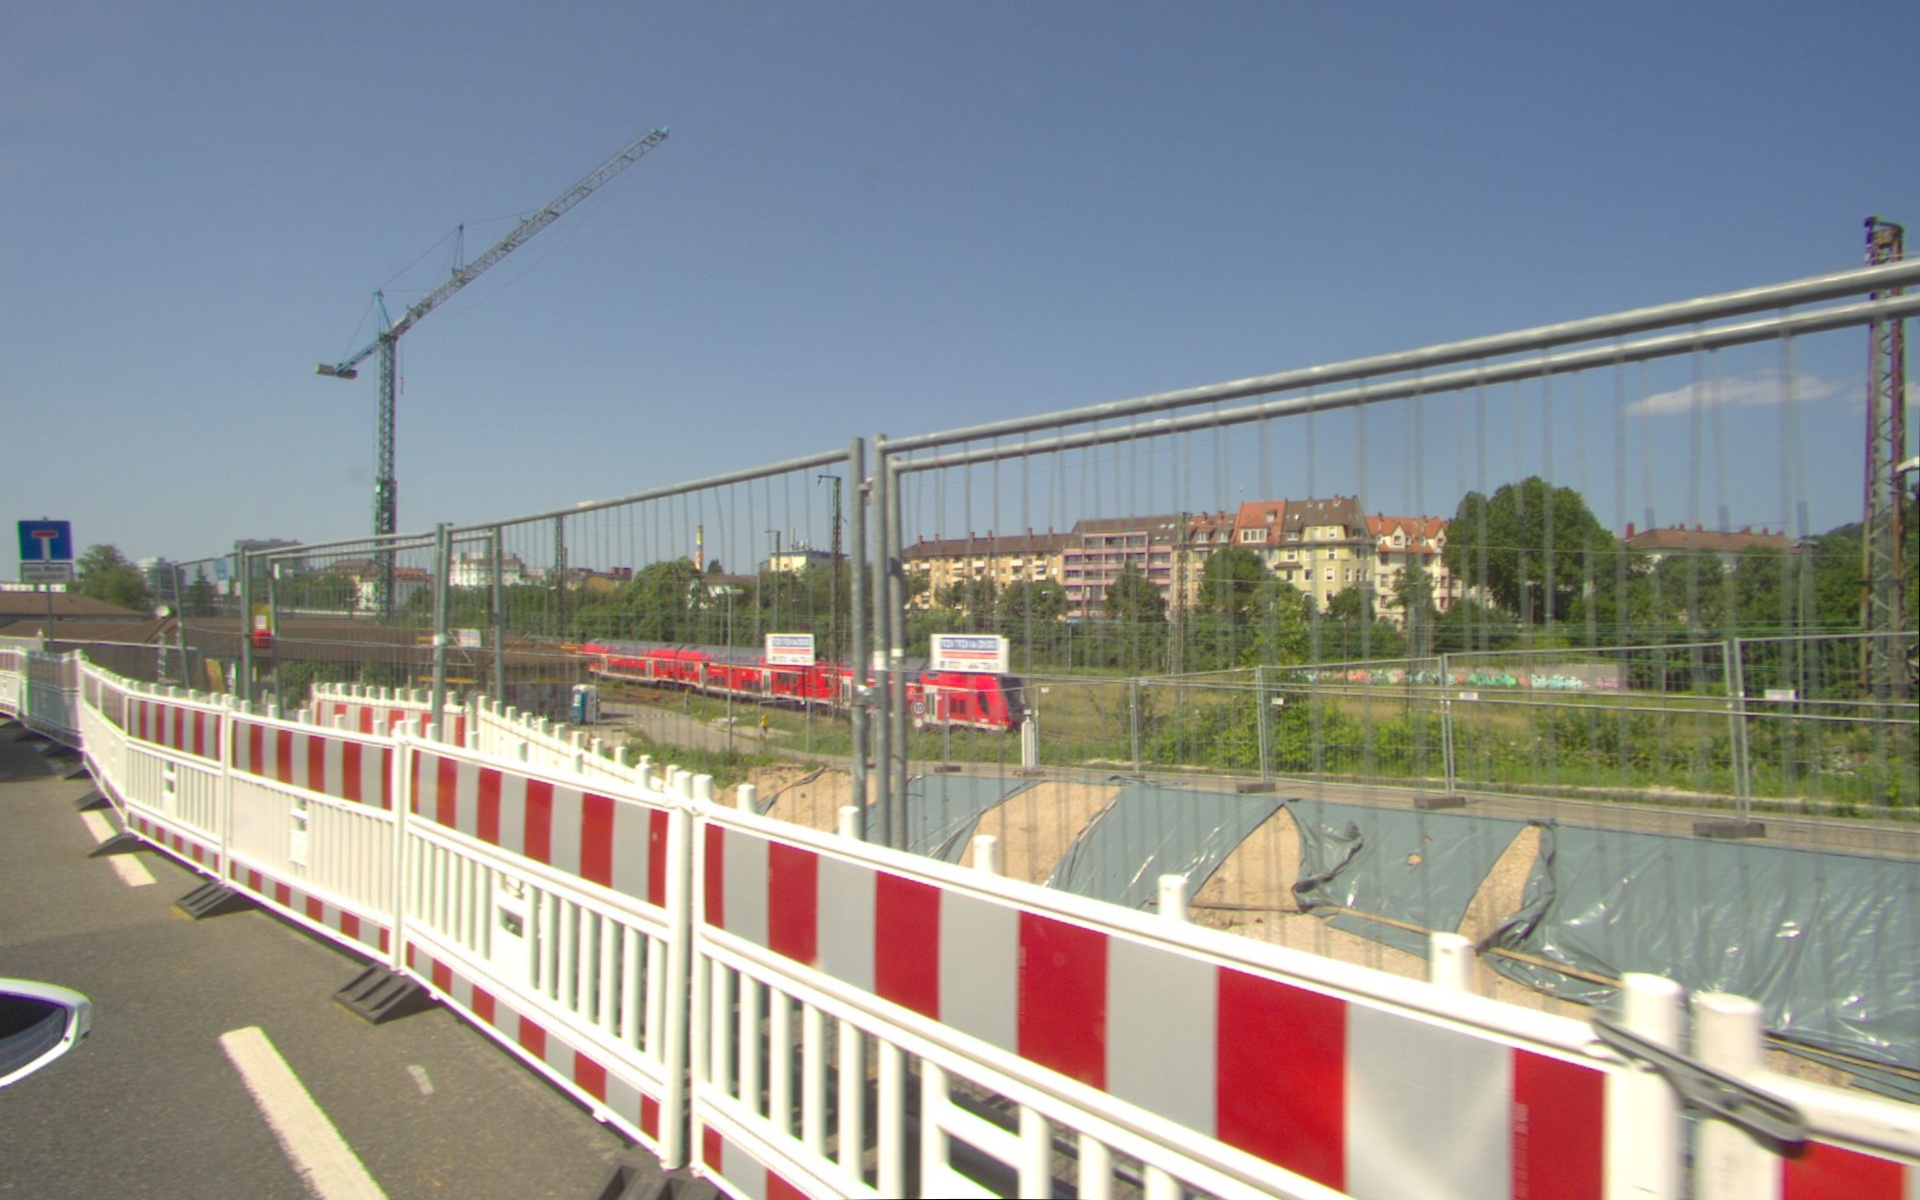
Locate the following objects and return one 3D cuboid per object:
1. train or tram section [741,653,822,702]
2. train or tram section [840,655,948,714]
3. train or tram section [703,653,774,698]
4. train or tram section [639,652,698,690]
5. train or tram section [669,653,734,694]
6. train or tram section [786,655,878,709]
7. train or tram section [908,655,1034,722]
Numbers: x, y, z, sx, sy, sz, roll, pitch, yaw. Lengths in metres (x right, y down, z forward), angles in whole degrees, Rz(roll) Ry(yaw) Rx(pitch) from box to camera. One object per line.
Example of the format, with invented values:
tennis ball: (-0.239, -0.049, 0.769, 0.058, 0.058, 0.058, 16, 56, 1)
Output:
train or tram section: (-14.986, 6.387, 83.315, 2.988, 3.748, 8.913, 4, -4, -35)
train or tram section: (-4.697, 5.726, 68.833, 2.989, 3.759, 8.910, 4, -4, -36)
train or tram section: (-20.124, 6.776, 90.544, 2.988, 3.748, 8.913, 4, -4, -35)
train or tram section: (-30.598, 7.360, 104.864, 2.989, 3.748, 8.910, 4, -4, -36)
train or tram section: (-25.308, 7.093, 97.718, 2.989, 3.748, 8.910, 4, -4, -36)
train or tram section: (-9.839, 6.121, 76.050, 2.988, 3.756, 8.913, 4, -4, -35)
train or tram section: (0.491, 5.334, 61.590, 2.988, 3.746, 8.913, 4, -4, -35)
